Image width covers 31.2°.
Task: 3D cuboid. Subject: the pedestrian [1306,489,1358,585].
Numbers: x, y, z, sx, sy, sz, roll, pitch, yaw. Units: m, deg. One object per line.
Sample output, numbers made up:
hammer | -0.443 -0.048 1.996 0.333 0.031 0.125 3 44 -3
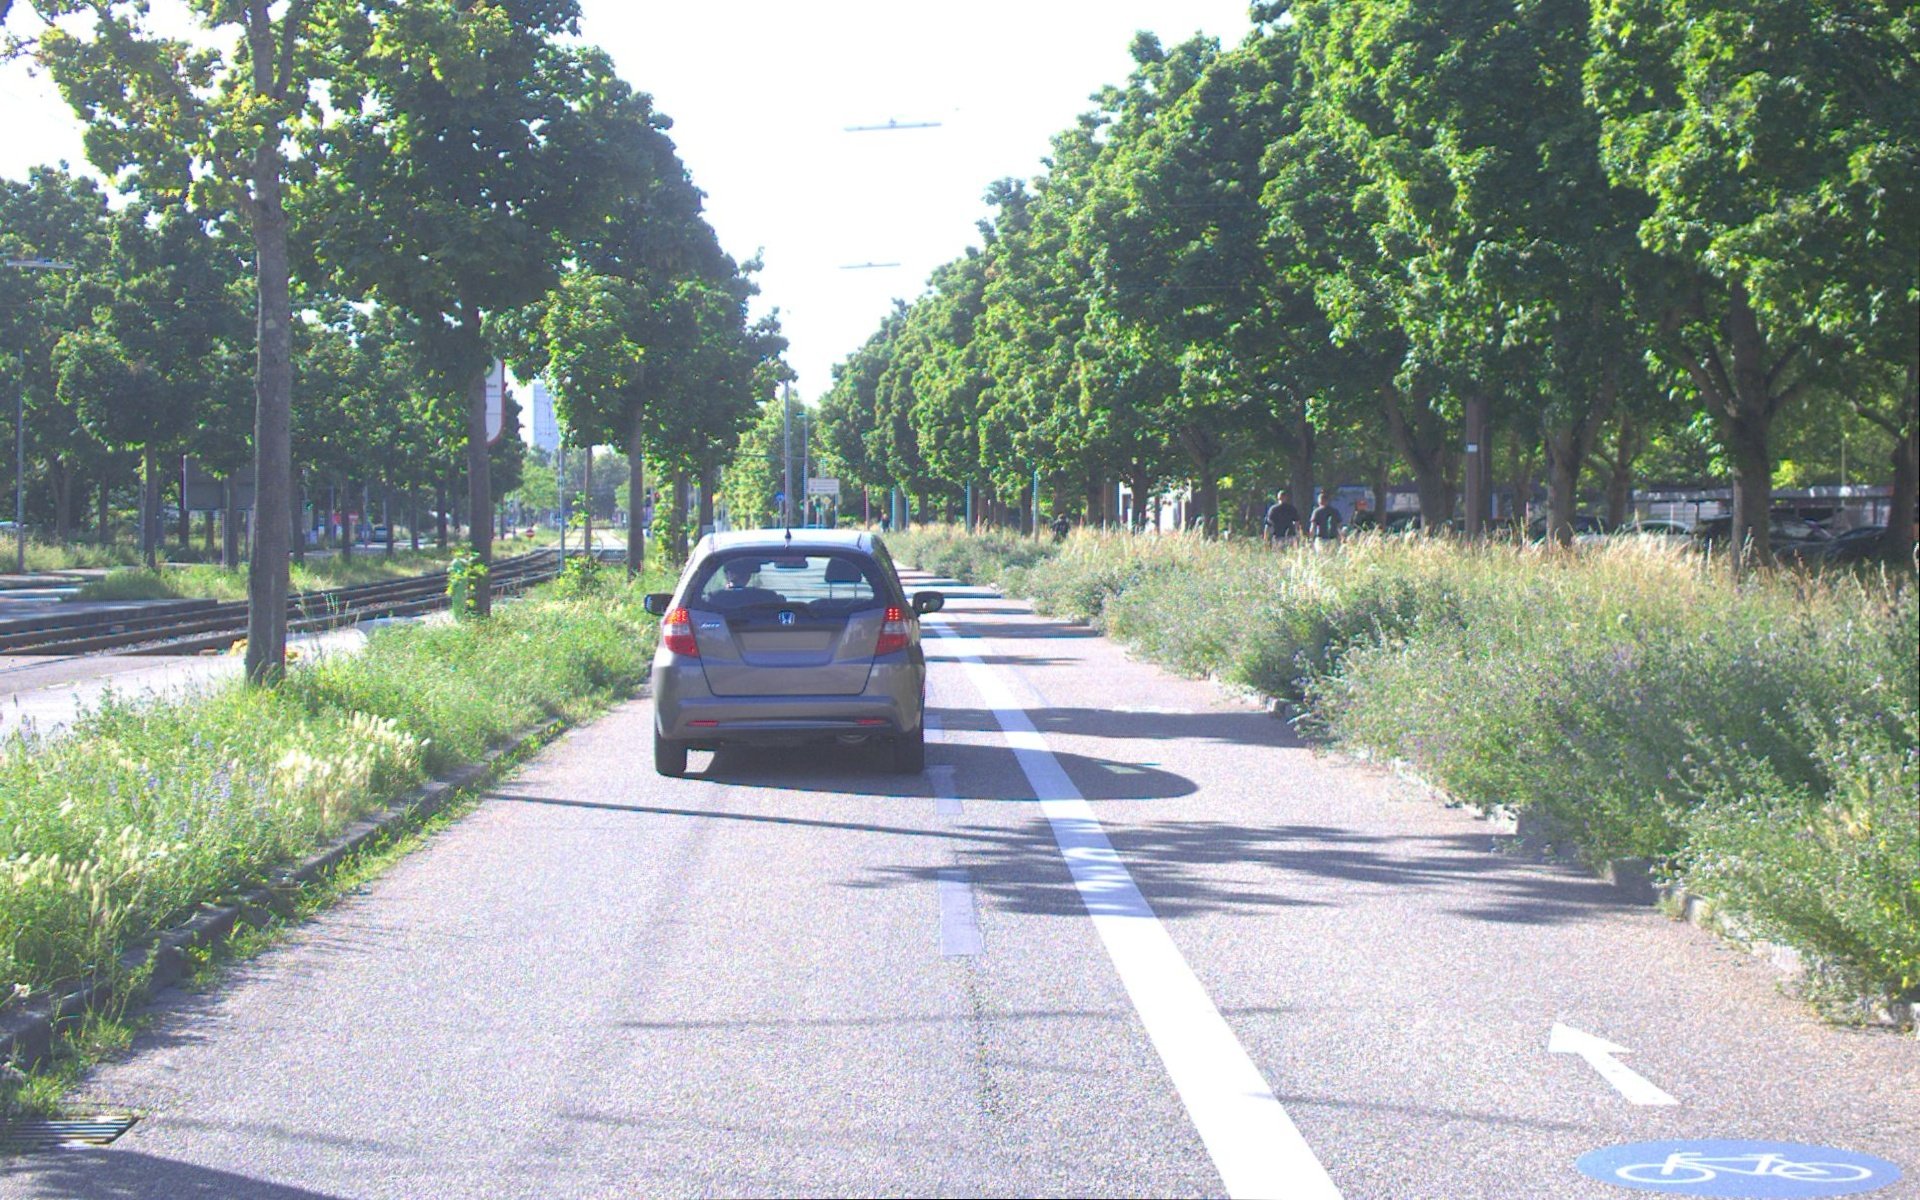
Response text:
pedestrian | 7.288 -1.243 67.449 0.882 1.877 0.875 0 1 -3

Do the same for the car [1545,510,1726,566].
car | 19.114 -1.753 97.358 4.630 1.550 2.000 0 1 -5

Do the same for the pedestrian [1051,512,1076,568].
pedestrian | 3.142 -1.823 104.471 0.725 1.684 0.821 0 1 -2

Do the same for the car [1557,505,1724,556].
car | 20.820 -2.124 105.206 4.630 1.550 2.000 0 1 -5

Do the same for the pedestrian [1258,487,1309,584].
pedestrian | 6.348 -1.268 67.448 0.882 1.877 0.875 0 1 -3

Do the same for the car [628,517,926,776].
car | -1.109 0.275 22.374 1.701 1.518 3.709 1 0 0
